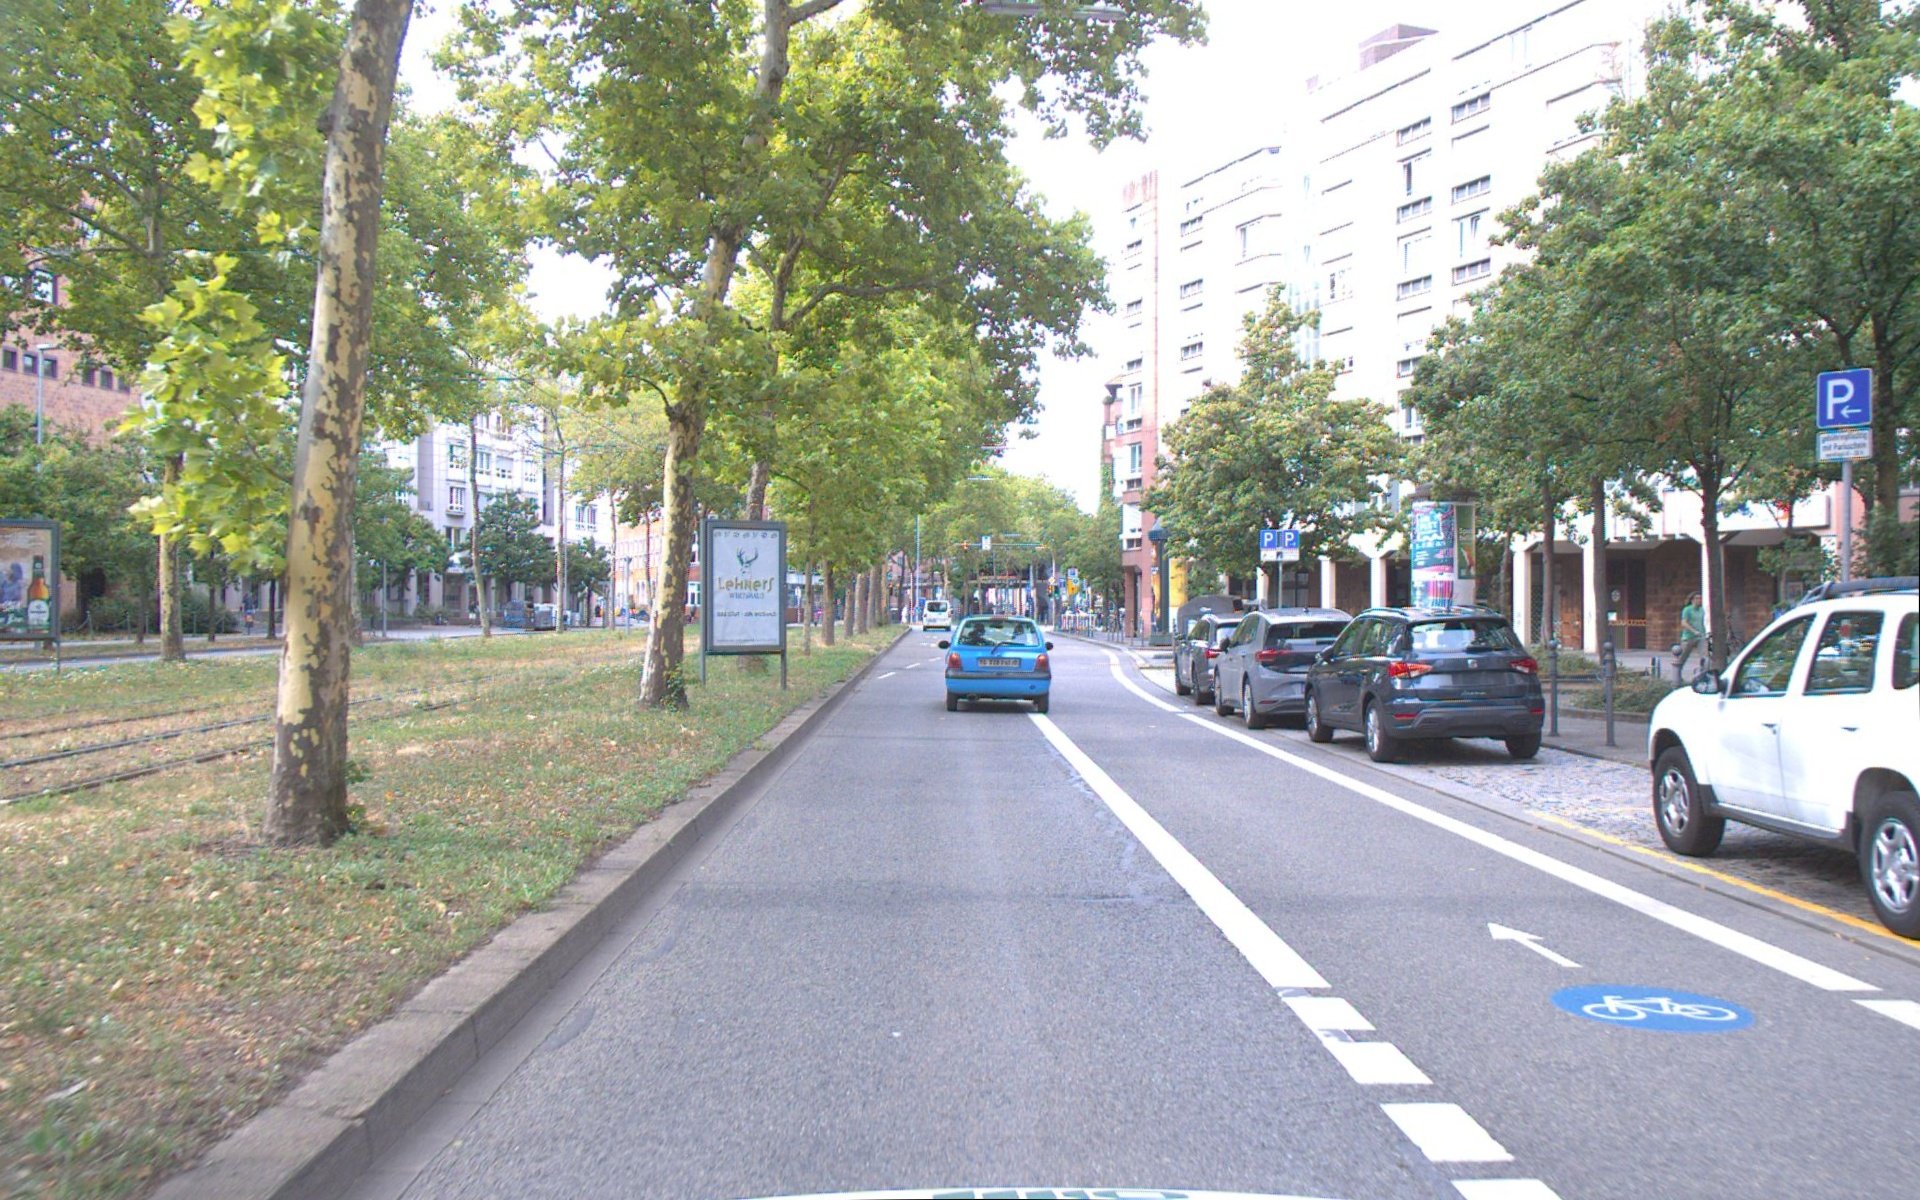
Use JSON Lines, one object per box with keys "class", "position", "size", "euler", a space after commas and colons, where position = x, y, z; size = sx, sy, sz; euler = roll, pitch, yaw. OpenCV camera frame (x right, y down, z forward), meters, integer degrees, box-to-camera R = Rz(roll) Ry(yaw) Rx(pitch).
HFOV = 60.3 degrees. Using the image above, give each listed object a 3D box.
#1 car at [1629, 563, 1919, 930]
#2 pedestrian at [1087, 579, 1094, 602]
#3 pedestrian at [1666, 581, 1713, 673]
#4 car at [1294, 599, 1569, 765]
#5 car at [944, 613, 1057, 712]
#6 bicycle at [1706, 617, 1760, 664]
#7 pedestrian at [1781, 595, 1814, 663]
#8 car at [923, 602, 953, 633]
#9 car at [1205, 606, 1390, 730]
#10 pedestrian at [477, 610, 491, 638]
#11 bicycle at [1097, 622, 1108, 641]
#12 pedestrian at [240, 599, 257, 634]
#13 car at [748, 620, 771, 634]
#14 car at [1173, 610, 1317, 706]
{"class": "car", "position": [5.357, 0.659, 9.048], "size": [1.822, 1.682, 4.164], "euler": [-1, 0, 2]}
{"class": "pedestrian", "position": [9.405, -0.654, 119.609], "size": [0.506, 1.644, 0.851], "euler": [0, -1, 5]}
{"class": "pedestrian", "position": [12.891, 0.471, 29.243], "size": [0.592, 1.614, 0.682], "euler": [0, -1, 9]}
{"class": "car", "position": [4.998, 0.807, 18.153], "size": [1.680, 1.545, 4.202], "euler": [-2, 0, -2]}
{"class": "car", "position": [0.583, 0.909, 25.659], "size": [1.607, 1.410, 3.842], "euler": [0, -1, 0]}
{"class": "bicycle", "position": [18.957, 0.979, 40.531], "size": [0.587, 1.132, 1.950], "euler": [-1, -1, 44]}
{"class": "pedestrian", "position": [21.209, 0.736, 41.884], "size": [0.521, 1.692, 0.851], "euler": [0, -1, 11]}
{"class": "car", "position": [-1.396, 1.143, 107.775], "size": [1.892, 1.959, 4.955], "euler": [0, 0, -1]}
{"class": "car", "position": [4.629, 0.875, 23.288], "size": [1.704, 1.545, 4.401], "euler": [-1, 0, 0]}
{"class": "pedestrian", "position": [-29.504, 1.497, 102.582], "size": [0.541, 1.735, 0.885], "euler": [0, -1, 4]}
{"class": "bicycle", "position": [8.817, 1.940, 102.361], "size": [0.599, 1.137, 1.805], "euler": [0, -1, 7]}
{"class": "pedestrian", "position": [-35.458, 0.809, 82.426], "size": [0.541, 1.735, 0.626], "euler": [0, -1, 4]}
{"class": "car", "position": [-19.164, 2.583, 158.432], "size": [1.694, 1.267, 4.533], "euler": [0, -1, -1]}
{"class": "car", "position": [4.797, 0.937, 28.424], "size": [1.779, 1.468, 4.666], "euler": [-1, -1, 2]}
